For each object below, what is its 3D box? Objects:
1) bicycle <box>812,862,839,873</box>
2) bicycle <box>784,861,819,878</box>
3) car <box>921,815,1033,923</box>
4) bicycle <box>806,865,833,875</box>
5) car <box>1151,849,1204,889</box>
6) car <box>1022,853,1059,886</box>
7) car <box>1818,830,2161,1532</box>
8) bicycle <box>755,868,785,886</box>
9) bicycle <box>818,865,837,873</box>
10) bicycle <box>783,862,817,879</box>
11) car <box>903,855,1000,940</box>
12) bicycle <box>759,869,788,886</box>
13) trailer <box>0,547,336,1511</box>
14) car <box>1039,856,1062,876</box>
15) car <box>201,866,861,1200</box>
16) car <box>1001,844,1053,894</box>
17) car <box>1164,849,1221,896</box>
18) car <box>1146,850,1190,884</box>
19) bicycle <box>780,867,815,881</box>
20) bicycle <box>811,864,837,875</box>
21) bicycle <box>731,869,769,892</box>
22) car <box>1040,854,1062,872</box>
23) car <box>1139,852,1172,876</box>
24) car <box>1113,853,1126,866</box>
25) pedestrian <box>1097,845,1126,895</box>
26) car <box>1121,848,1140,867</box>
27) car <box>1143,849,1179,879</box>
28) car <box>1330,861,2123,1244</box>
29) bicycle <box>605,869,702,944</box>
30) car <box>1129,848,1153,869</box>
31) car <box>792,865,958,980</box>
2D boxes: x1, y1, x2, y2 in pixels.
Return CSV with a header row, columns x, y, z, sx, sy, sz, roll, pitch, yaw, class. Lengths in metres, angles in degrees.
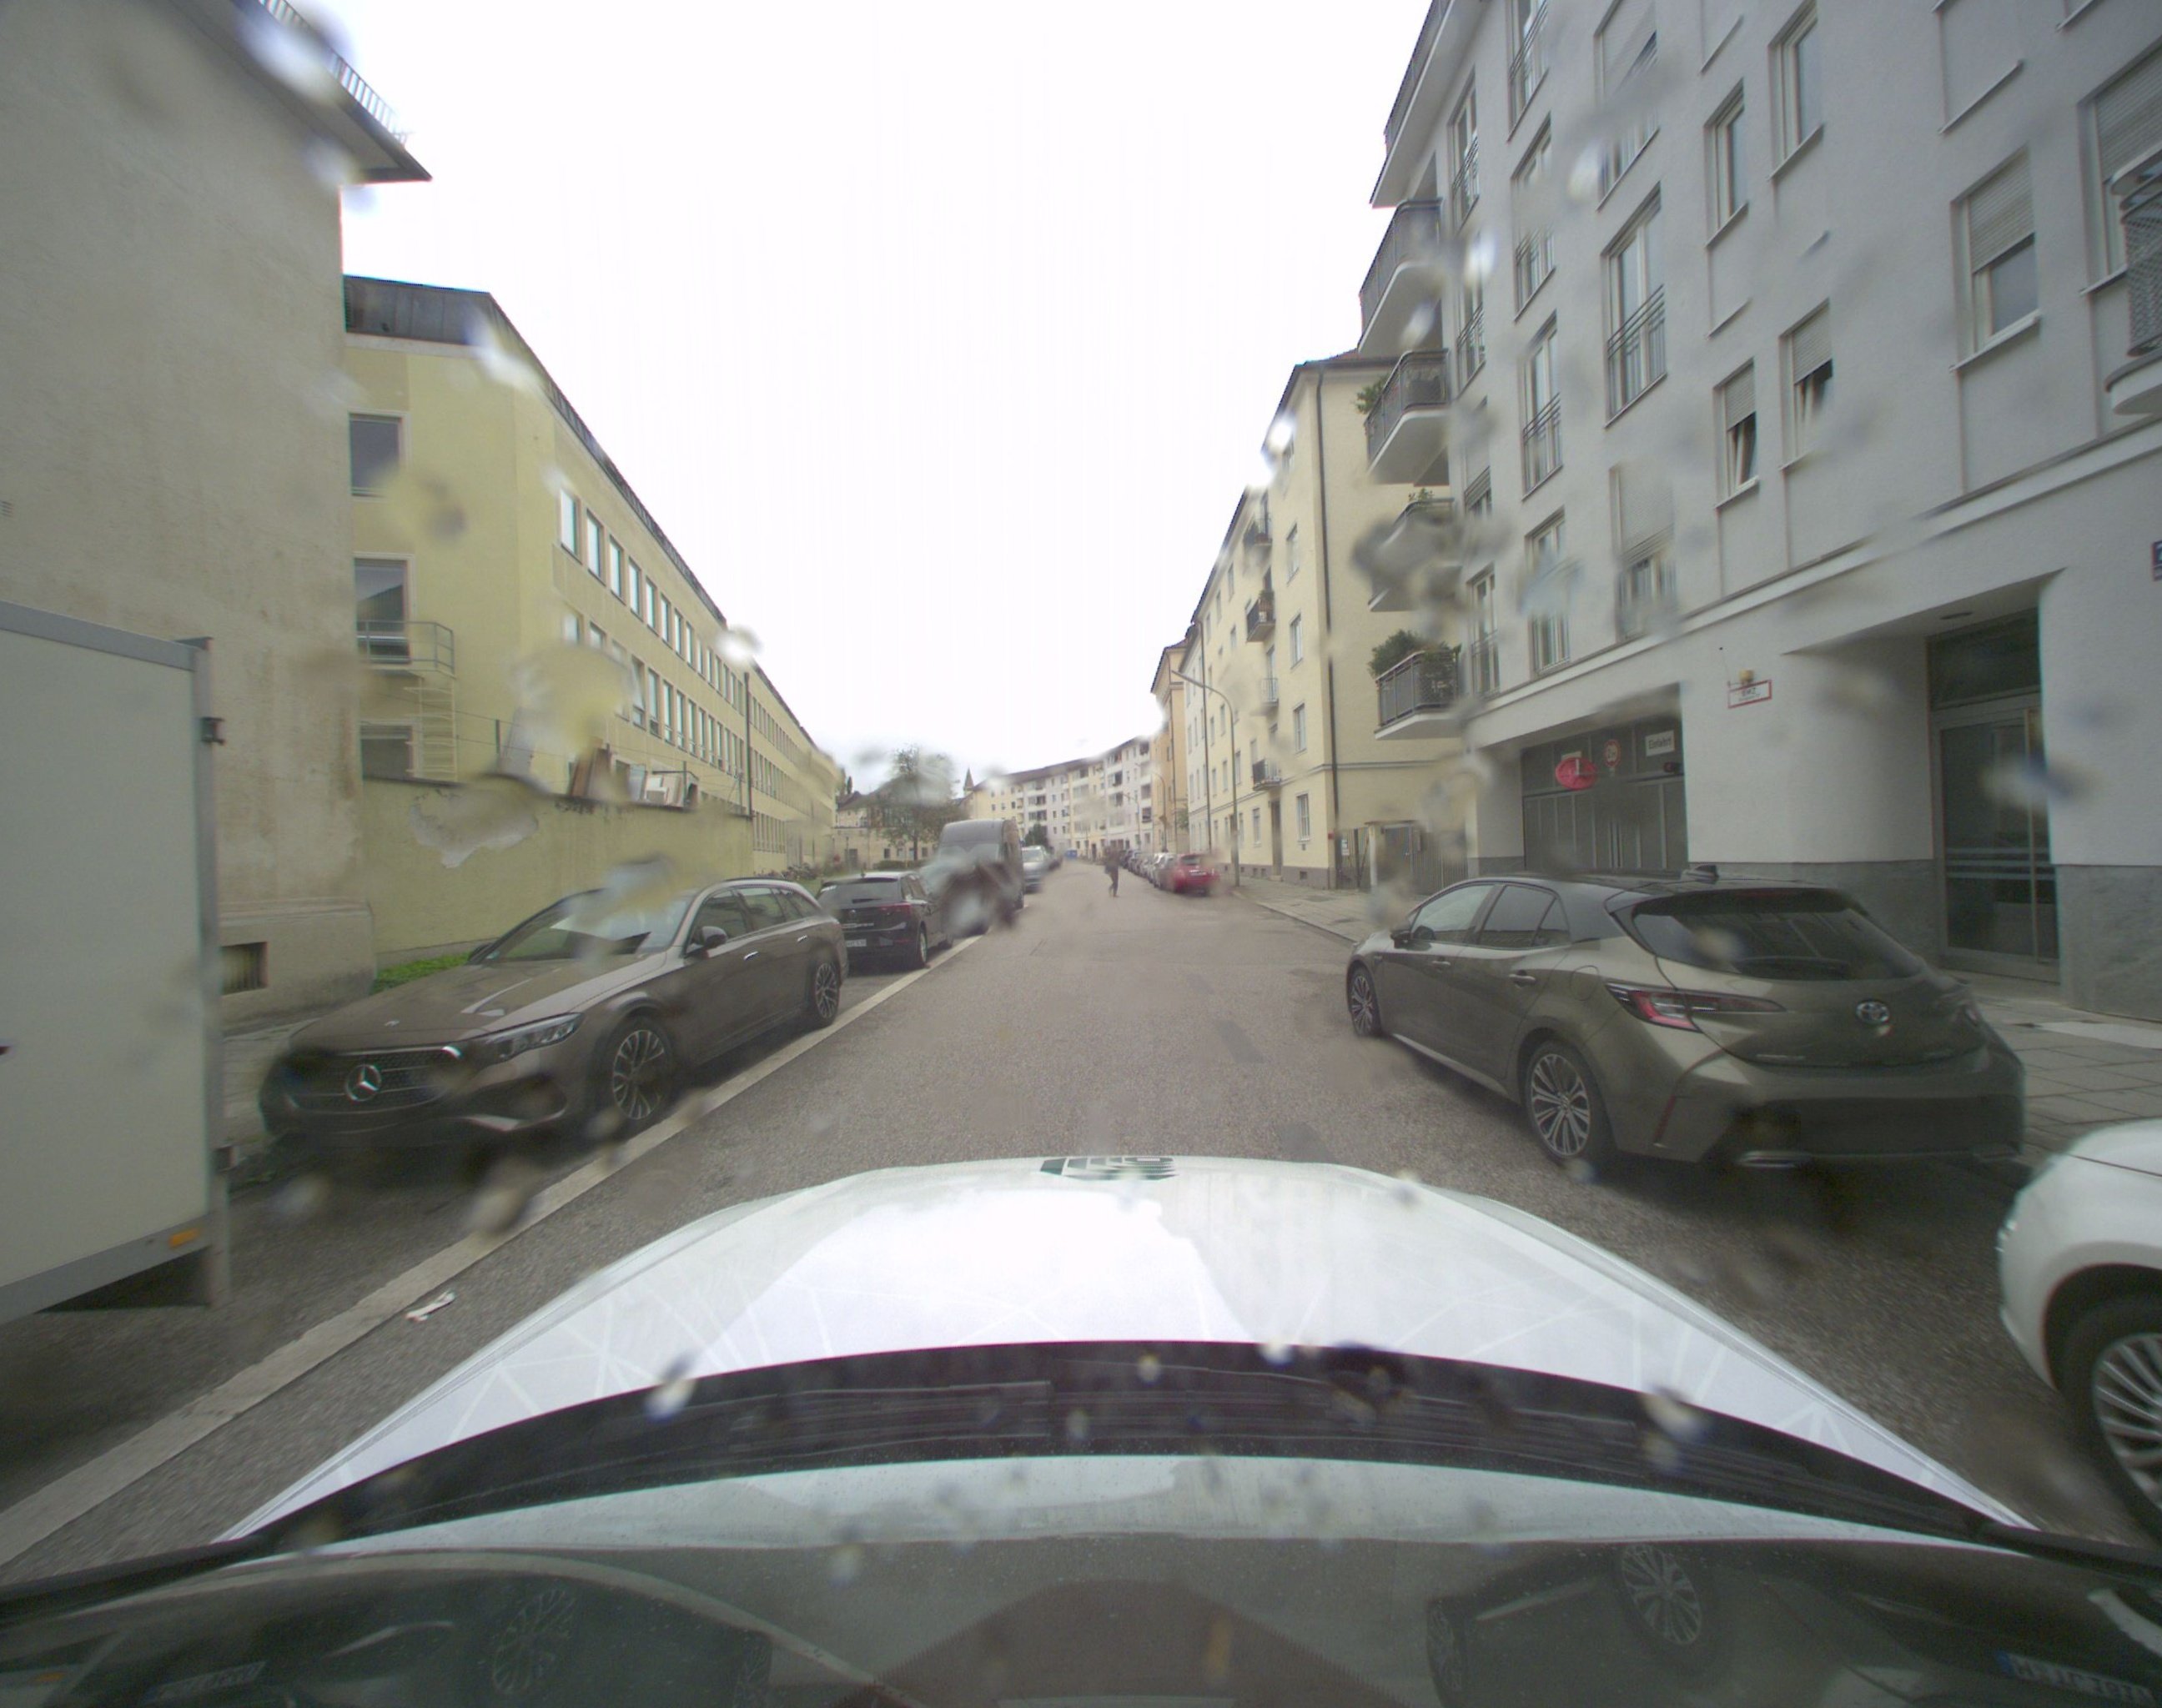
x,y,z,sx,sy,sz,roll,pitch,yaw,class
-22.851,1.217,72.886,2.211,0.896,0.644,-2,-1,-18,bicycle
-20.367,1.118,59.413,2.250,1.168,1.042,-2,0,-15,bicycle
-2.765,0.347,23.047,2.079,2.636,5.381,-2,1,3,car
-22.314,1.367,69.568,2.211,0.835,0.492,-2,-1,-18,bicycle
3.972,0.623,34.267,1.687,1.491,4.343,-3,0,0,car
-2.257,0.838,46.325,1.696,1.691,4.028,-4,0,1,car
3.087,0.705,0.836,1.514,1.530,3.527,-1,0,1,car
-17.422,1.309,45.651,1.530,0.955,0.364,-1,0,-15,bicycle
-25.055,1.515,80.399,1.742,0.714,0.611,-2,-1,-18,bicycle
-19.681,1.149,57.027,2.211,1.037,0.492,-2,-1,-18,bicycle
-2.716,0.856,17.759,1.581,1.538,3.541,-2,1,-2,car
-17.831,1.352,47.239,1.530,0.955,0.364,-1,0,-15,bicycle
-3.736,0.484,0.745,1.701,2.461,4.392,-4,0,4,trailer
-2.338,0.906,62.192,1.619,1.419,3.979,-3,0,-2,car
-3.425,0.948,6.395,1.758,1.538,4.546,-4,0,4,car
-2.302,0.609,35.866,1.877,1.931,4.600,-4,0,0,car
3.937,0.628,29.315,1.589,1.509,3.802,-2,0,2,car
4.247,0.578,40.140,1.687,1.491,4.283,-3,0,0,car
-19.045,1.356,54.776,2.211,0.835,0.492,-2,-1,-18,bicycle
-22.236,1.336,70.405,2.124,0.835,0.644,-2,-1,-18,bicycle
-14.847,1.175,36.526,1.530,0.955,0.364,-1,0,-15,bicycle
-2.454,0.718,67.556,1.619,1.419,3.980,-3,0,-1,car
4.559,0.614,50.068,1.687,1.432,3.944,-1,0,0,car
4.081,0.566,86.527,1.268,1.299,2.797,-2,0,0,car
1.064,0.547,28.566,0.796,1.728,0.669,0,-2,-17,pedestrian
4.517,0.328,74.516,1.469,1.641,4.001,-1,0,0,car
4.395,0.525,45.031,1.594,1.491,3.798,-2,1,0,car
3.131,0.778,5.192,1.758,1.408,4.076,-2,-1,-1,car
-7.492,0.890,14.372,0.675,1.192,1.779,-1,0,3,bicycle
4.690,0.353,64.535,1.585,1.582,4.299,-1,0,0,car
-3.116,0.963,13.094,1.695,1.445,3.823,-1,1,-1,car
